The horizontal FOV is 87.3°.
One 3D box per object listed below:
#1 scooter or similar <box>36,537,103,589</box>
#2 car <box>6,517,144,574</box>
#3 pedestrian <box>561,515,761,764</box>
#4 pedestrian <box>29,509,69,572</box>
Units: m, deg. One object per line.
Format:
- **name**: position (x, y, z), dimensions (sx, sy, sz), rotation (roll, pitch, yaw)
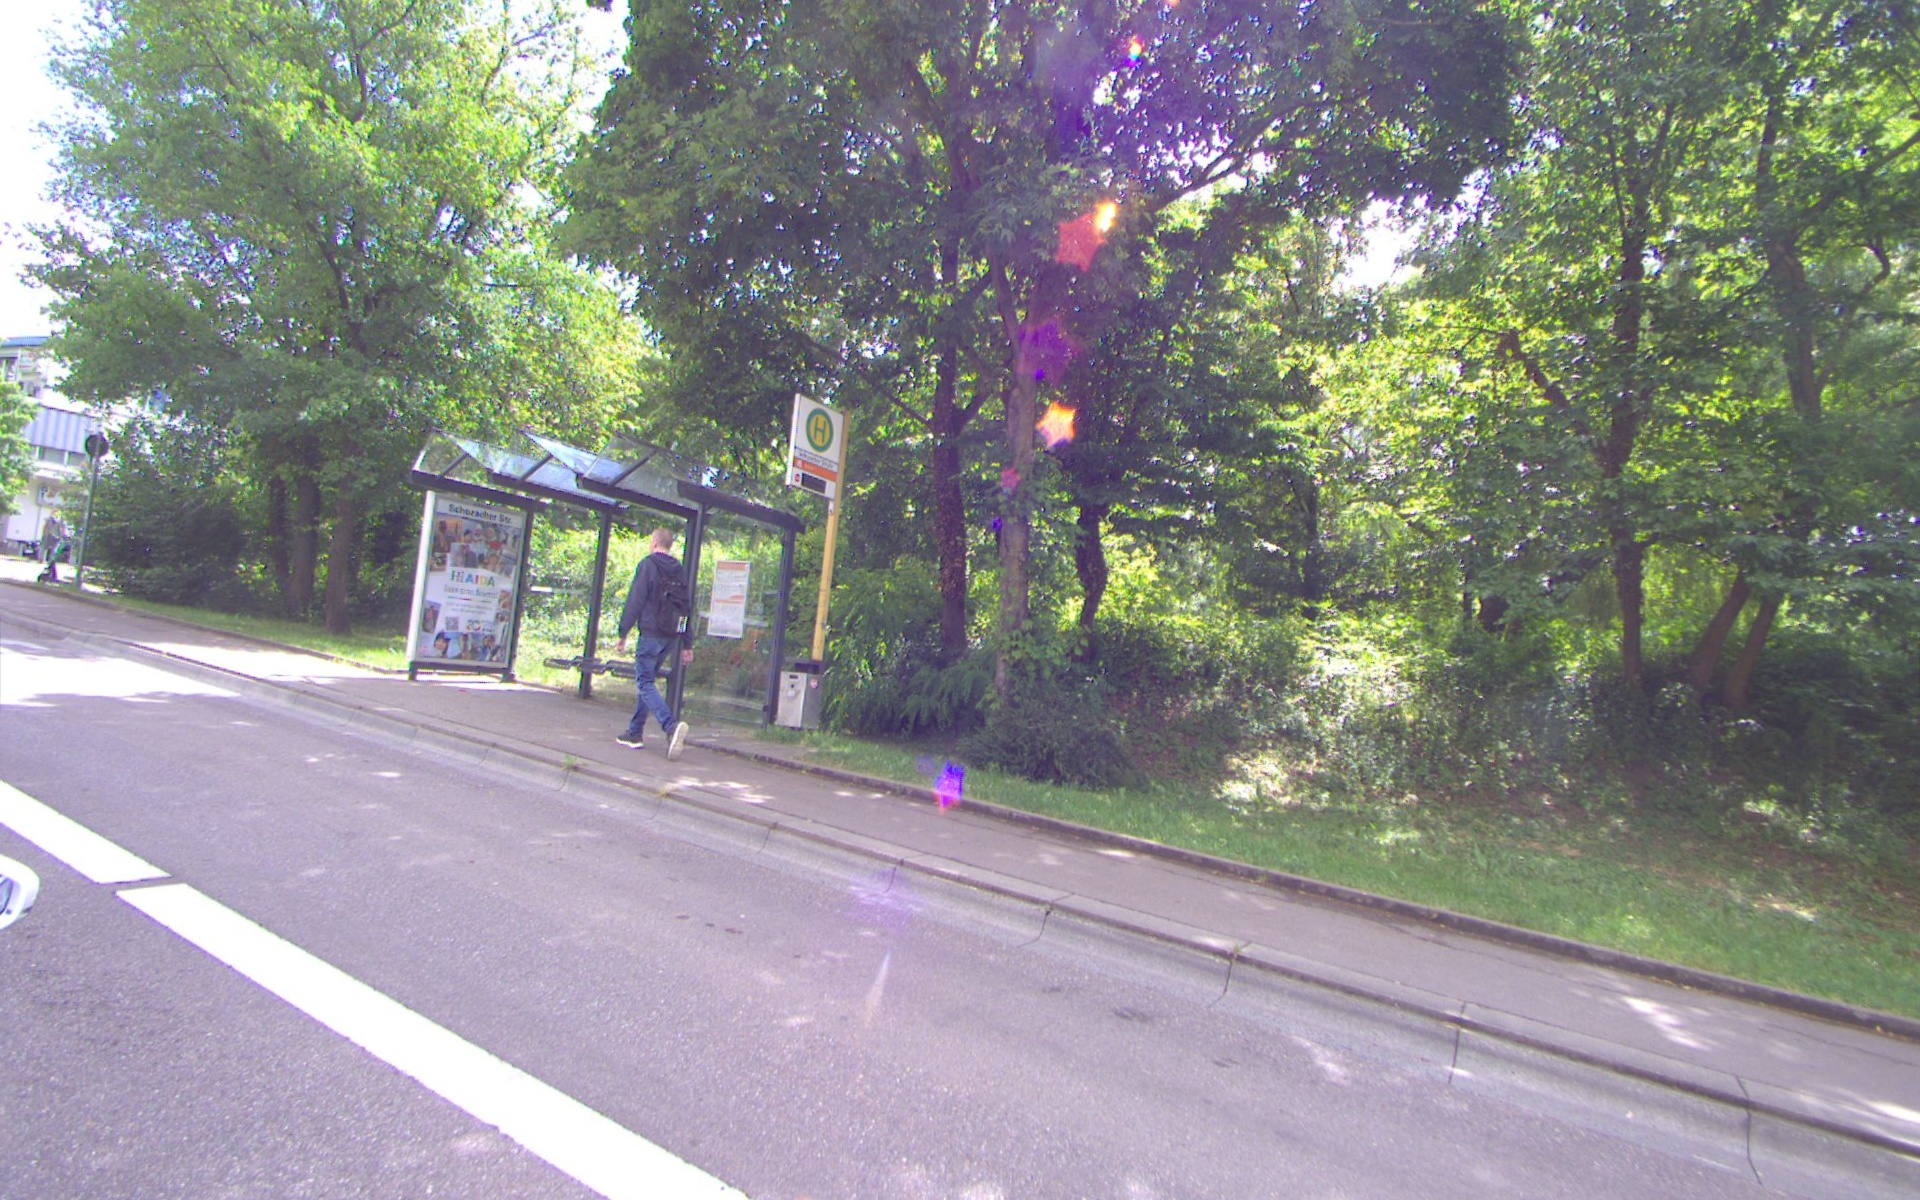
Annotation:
- **scooter or similar**: position (-21.424, -0.875, 24.226), dimensions (0.325, 1.112, 1.153), rotation (7, -2, 9)
- **car**: position (-34.650, -2.093, 39.495), dimensions (1.679, 1.619, 3.592), rotation (6, -2, 20)
- **pedestrian**: position (-2.555, 0.322, 8.598), dimensions (1.250, 1.917, 0.802), rotation (6, -1, 33)
- **pedestrian**: position (-27.869, -1.808, 30.794), dimensions (0.611, 1.808, 0.562), rotation (12, -5, -40)
